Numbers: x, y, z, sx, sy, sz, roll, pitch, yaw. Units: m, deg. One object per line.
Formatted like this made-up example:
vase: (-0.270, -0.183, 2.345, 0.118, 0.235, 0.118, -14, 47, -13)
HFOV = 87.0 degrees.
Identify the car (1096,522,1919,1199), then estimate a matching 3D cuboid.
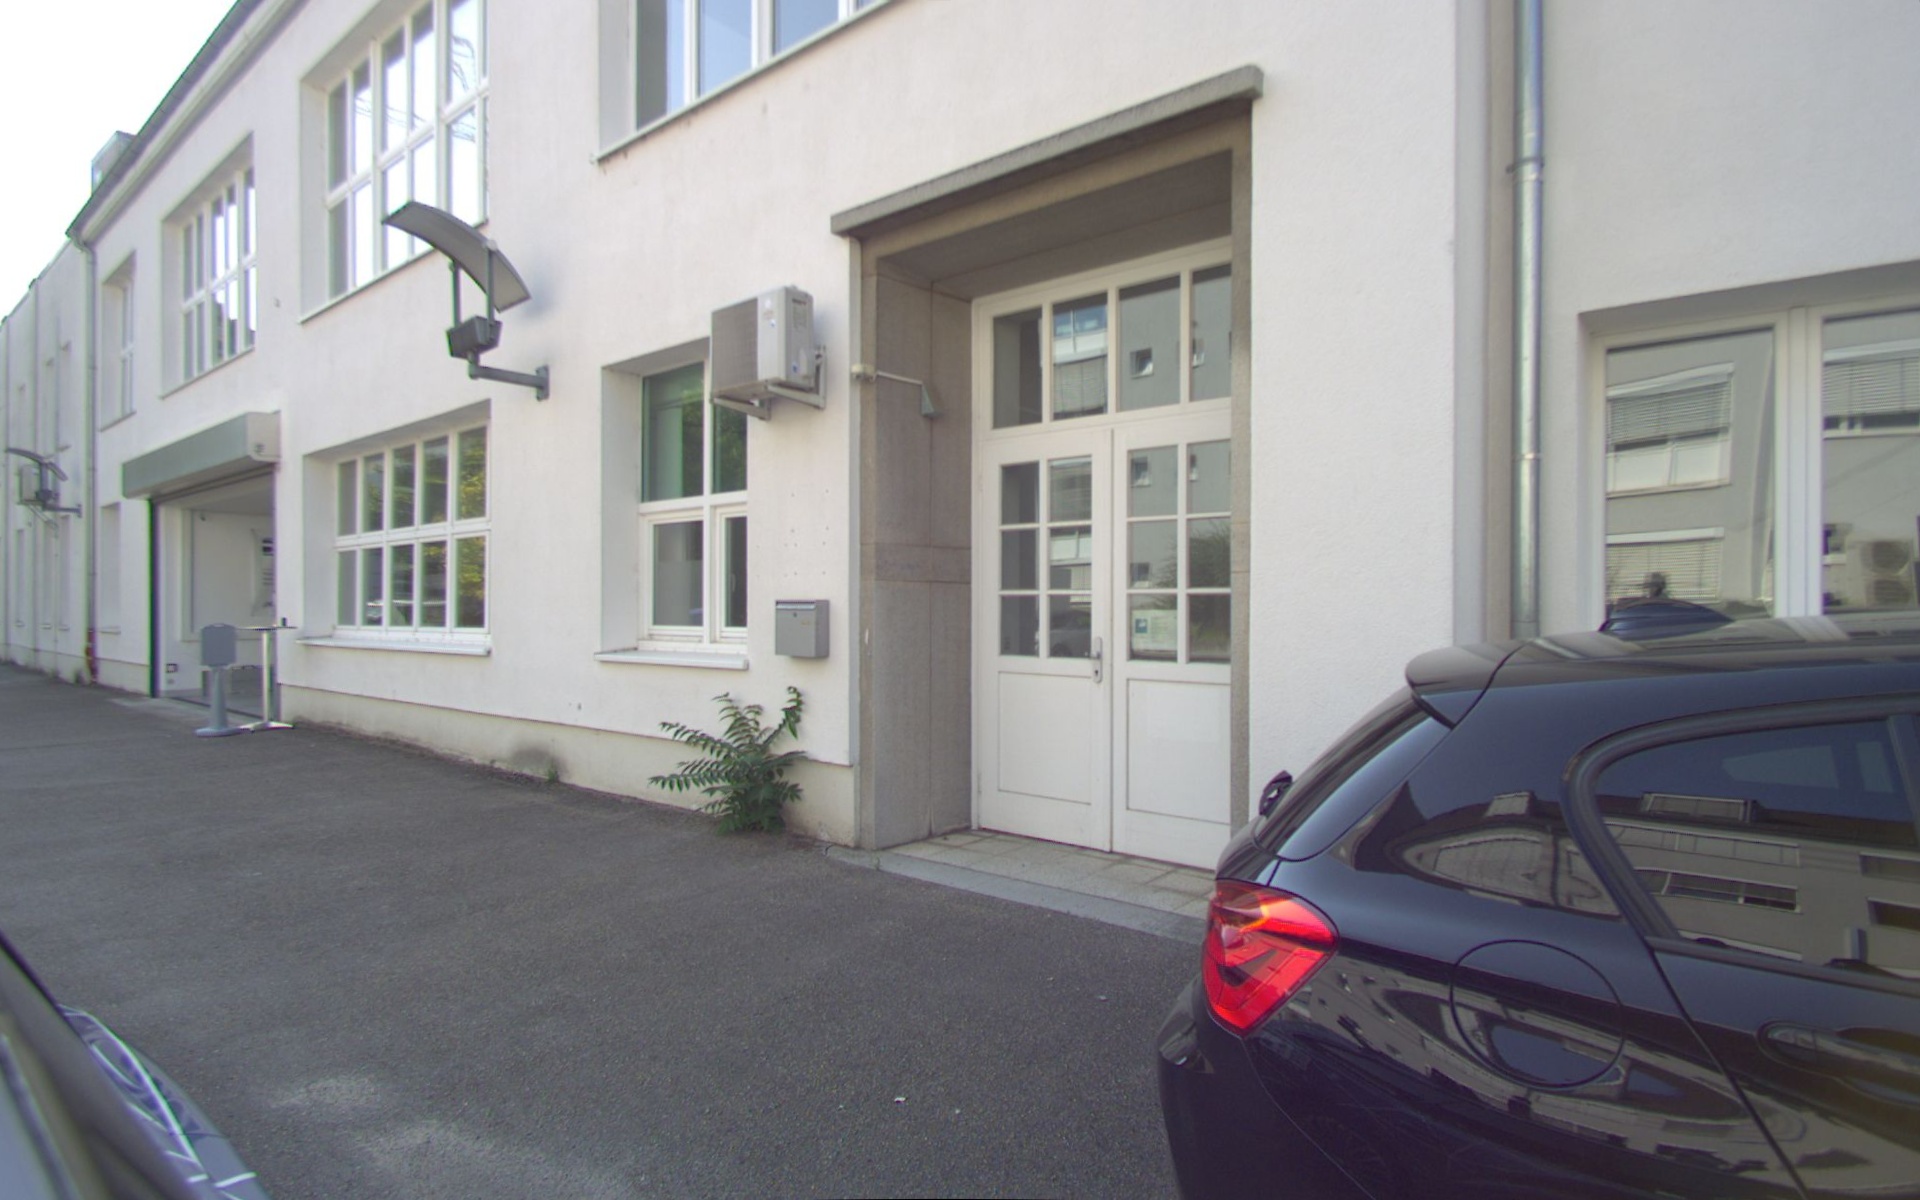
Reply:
car: (2.385, 0.623, 1.026, 4.130, 1.439, 1.776, -1, 0, 38)
